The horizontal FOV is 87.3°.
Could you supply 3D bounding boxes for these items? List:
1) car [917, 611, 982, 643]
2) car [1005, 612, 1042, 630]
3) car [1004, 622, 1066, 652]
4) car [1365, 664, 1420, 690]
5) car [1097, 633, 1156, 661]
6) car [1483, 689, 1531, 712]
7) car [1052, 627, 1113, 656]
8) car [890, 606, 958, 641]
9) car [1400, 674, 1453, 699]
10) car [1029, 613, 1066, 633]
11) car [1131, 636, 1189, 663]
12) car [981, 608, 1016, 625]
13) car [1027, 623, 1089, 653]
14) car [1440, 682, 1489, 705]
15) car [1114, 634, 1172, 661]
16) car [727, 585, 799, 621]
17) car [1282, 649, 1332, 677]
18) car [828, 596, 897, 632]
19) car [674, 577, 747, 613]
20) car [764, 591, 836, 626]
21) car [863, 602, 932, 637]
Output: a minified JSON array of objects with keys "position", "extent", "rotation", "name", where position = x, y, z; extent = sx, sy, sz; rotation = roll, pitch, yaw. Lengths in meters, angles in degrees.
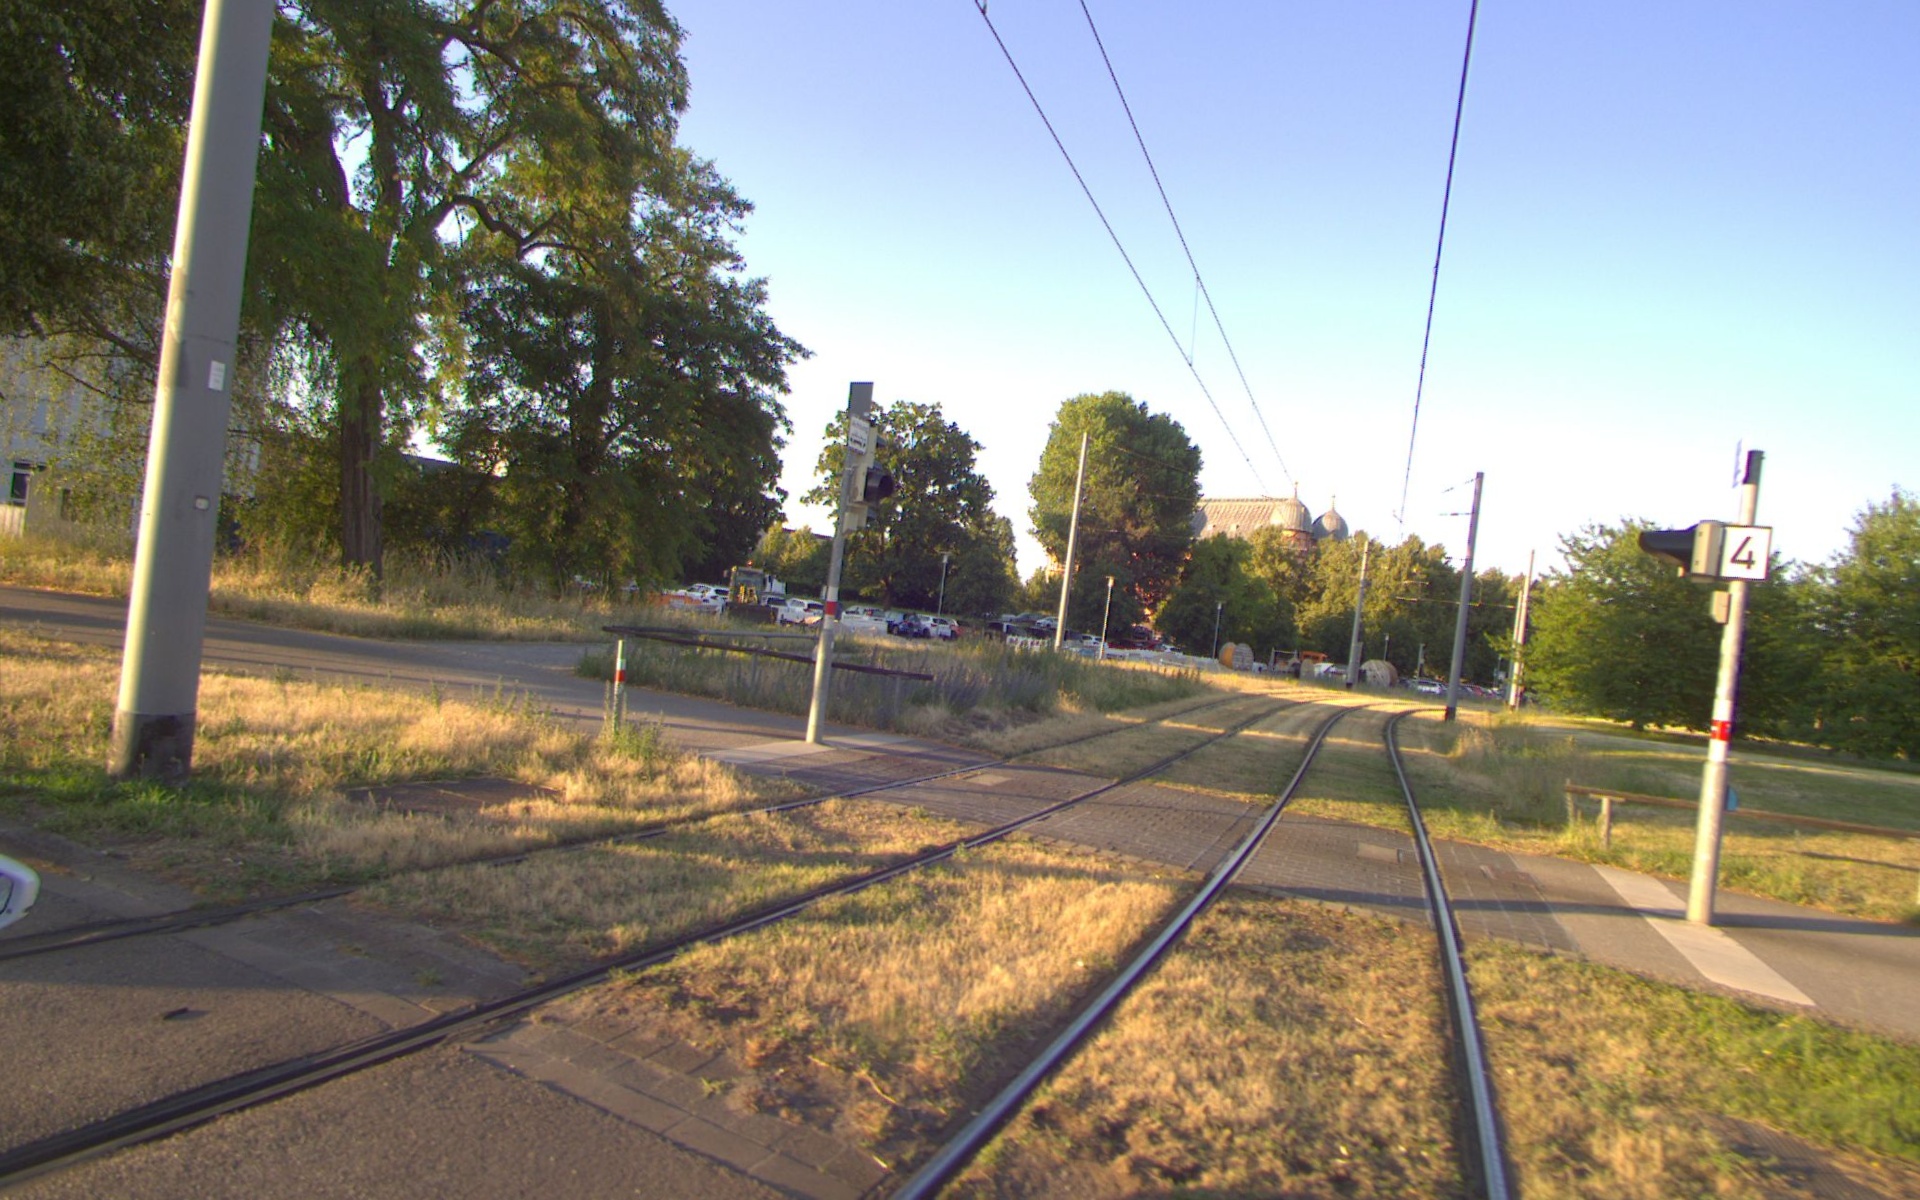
[{"position":[-0.701,1.741,65.549],"extent":[3.948,1.572,1.893],"rotation":[6,-1,45],"name":"car"},{"position":[7.451,2.408,117.459],"extent":[3.973,1.572,1.881],"rotation":[8,-1,-42],"name":"car"},{"position":[5.191,2.567,69.906],"extent":[3.948,1.572,1.893],"rotation":[6,-1,45],"name":"car"},{"position":[34.621,6.151,80.527],"extent":[3.561,1.499,1.704],"rotation":[8,-1,42],"name":"car"},{"position":[12.608,3.526,76.443],"extent":[3.948,1.572,1.893],"rotation":[6,-1,45],"name":"car"},{"position":[52.113,9.600,95.897],"extent":[3.561,1.499,1.704],"rotation":[8,-1,42],"name":"car"},{"position":[8.965,3.042,73.784],"extent":[3.948,1.572,1.893],"rotation":[6,-1,45],"name":"car"},{"position":[-2.283,1.476,63.474],"extent":[3.948,1.682,1.942],"rotation":[6,-1,45],"name":"car"},{"position":[39.239,7.281,84.719],"extent":[3.561,1.499,1.704],"rotation":[8,-1,42],"name":"car"},{"position":[9.991,2.659,114.928],"extent":[3.975,1.766,1.975],"rotation":[8,0,-43],"name":"car"},{"position":[15.886,3.924,80.018],"extent":[3.948,1.572,1.893],"rotation":[6,-1,45],"name":"car"},{"position":[4.637,2.017,121.409],"extent":[3.973,1.572,1.881],"rotation":[8,-1,-42],"name":"car"},{"position":[6.947,2.678,71.621],"extent":[3.948,1.572,1.893],"rotation":[6,-1,45],"name":"car"},{"position":[45.881,8.500,91.544],"extent":[3.561,1.499,1.704],"rotation":[8,-1,42],"name":"car"},{"position":[14.212,3.681,78.241],"extent":[3.948,1.572,1.893],"rotation":[6,-1,45],"name":"car"},{"position":[-10.896,0.147,55.540],"extent":[3.948,1.463,1.942],"rotation":[6,-1,45],"name":"car"},{"position":[33.549,6.065,97.242],"extent":[3.948,2.121,1.893],"rotation":[7,-1,45],"name":"car"},{"position":[-5.930,0.829,60.789],"extent":[3.948,1.682,1.942],"rotation":[6,-1,45],"name":"car"},{"position":[-13.345,-0.280,53.722],"extent":[3.948,1.463,1.942],"rotation":[6,-1,45],"name":"car"},{"position":[-9.080,0.468,56.822],"extent":[3.948,1.463,1.942],"rotation":[6,-1,45],"name":"car"},{"position":[-3.883,1.191,62.025],"extent":[3.948,1.682,1.942],"rotation":[6,-1,45],"name":"car"}]
